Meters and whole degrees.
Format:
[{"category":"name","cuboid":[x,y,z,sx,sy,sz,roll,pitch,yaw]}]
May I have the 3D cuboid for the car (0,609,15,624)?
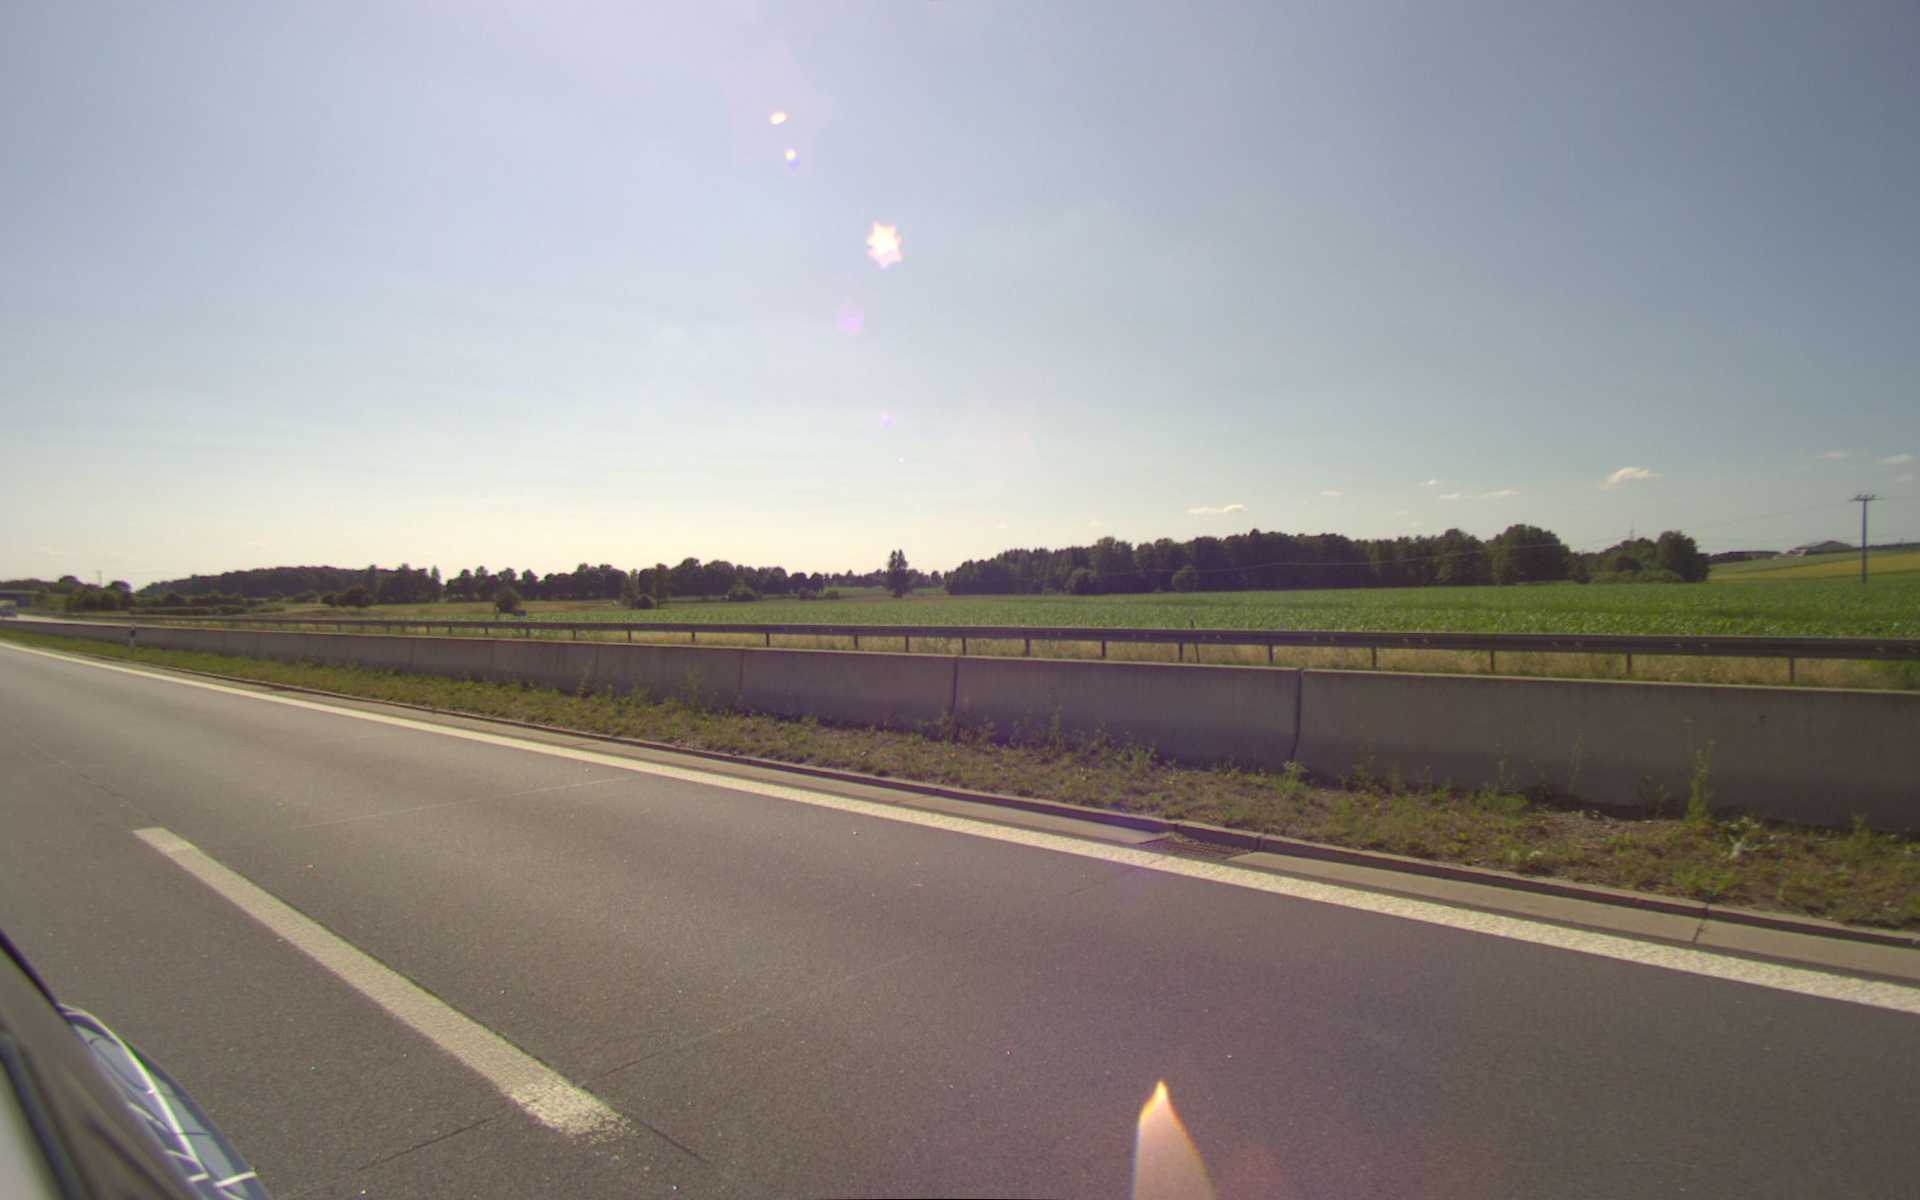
[{"category":"car","cuboid":[-168.836,2.932,178.736,5.453,2.578,2.361,-2,-2,43]}]
